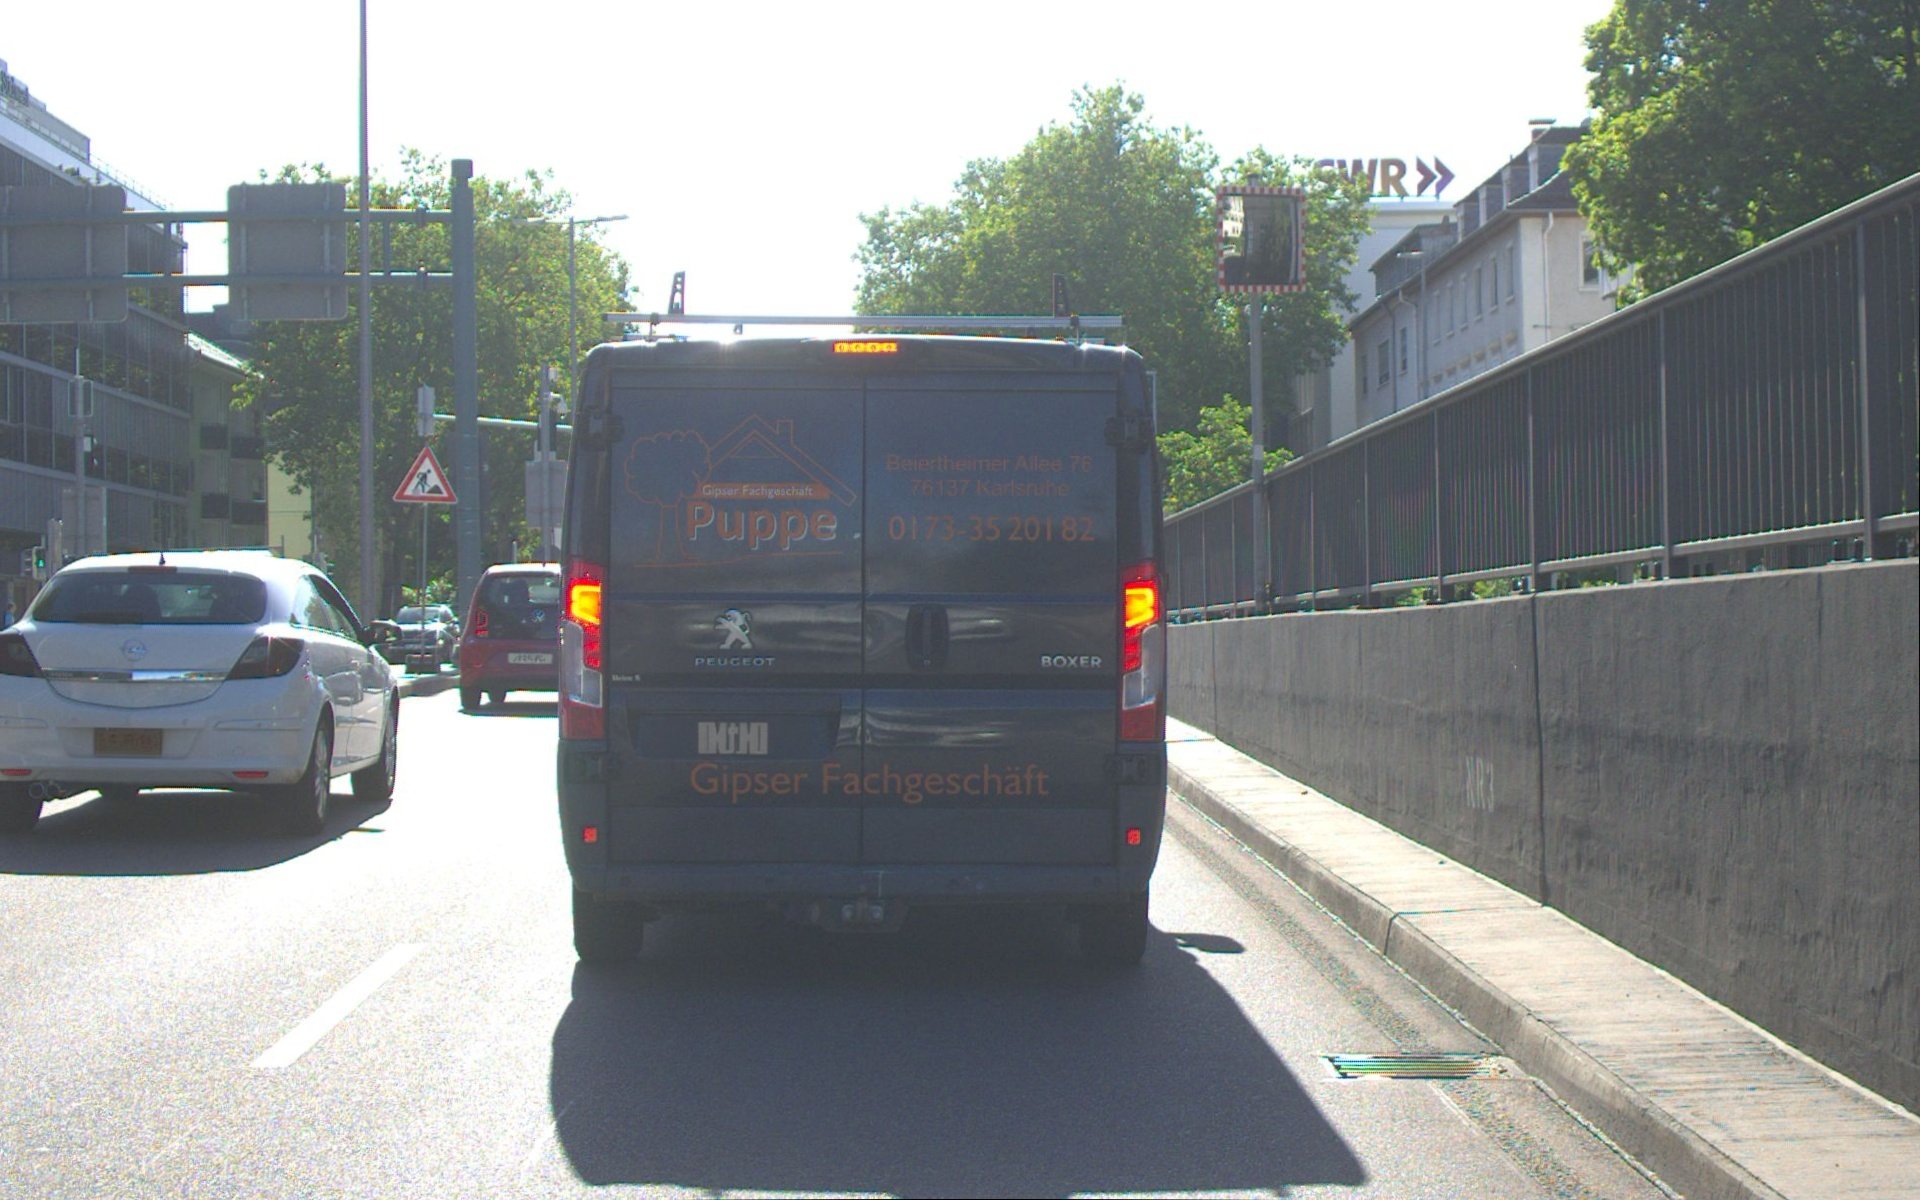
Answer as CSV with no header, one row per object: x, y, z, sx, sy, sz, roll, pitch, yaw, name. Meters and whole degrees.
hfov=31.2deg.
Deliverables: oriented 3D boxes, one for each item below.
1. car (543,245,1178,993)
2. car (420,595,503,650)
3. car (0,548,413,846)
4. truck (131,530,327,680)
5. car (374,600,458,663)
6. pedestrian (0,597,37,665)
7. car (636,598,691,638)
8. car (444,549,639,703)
-0.362,0.060,13.006,2.030,2.394,3.973,0,0,-1,car
-14.797,0.652,102.275,1.936,1.550,3.923,1,0,-1,car
-4.034,0.445,18.610,1.619,1.398,3.852,1,1,-2,car
-13.271,0.094,62.793,2.229,2.519,6.129,-2,0,0,truck
-13.504,0.771,85.479,1.591,1.440,3.496,-3,0,-2,car
-27.080,0.874,97.883,1.332,1.925,1.026,1,0,-1,pedestrian
-11.930,0.719,138.564,1.936,1.550,3.923,1,0,-1,car
-4.261,0.231,35.384,1.689,1.478,3.319,1,1,-2,car
